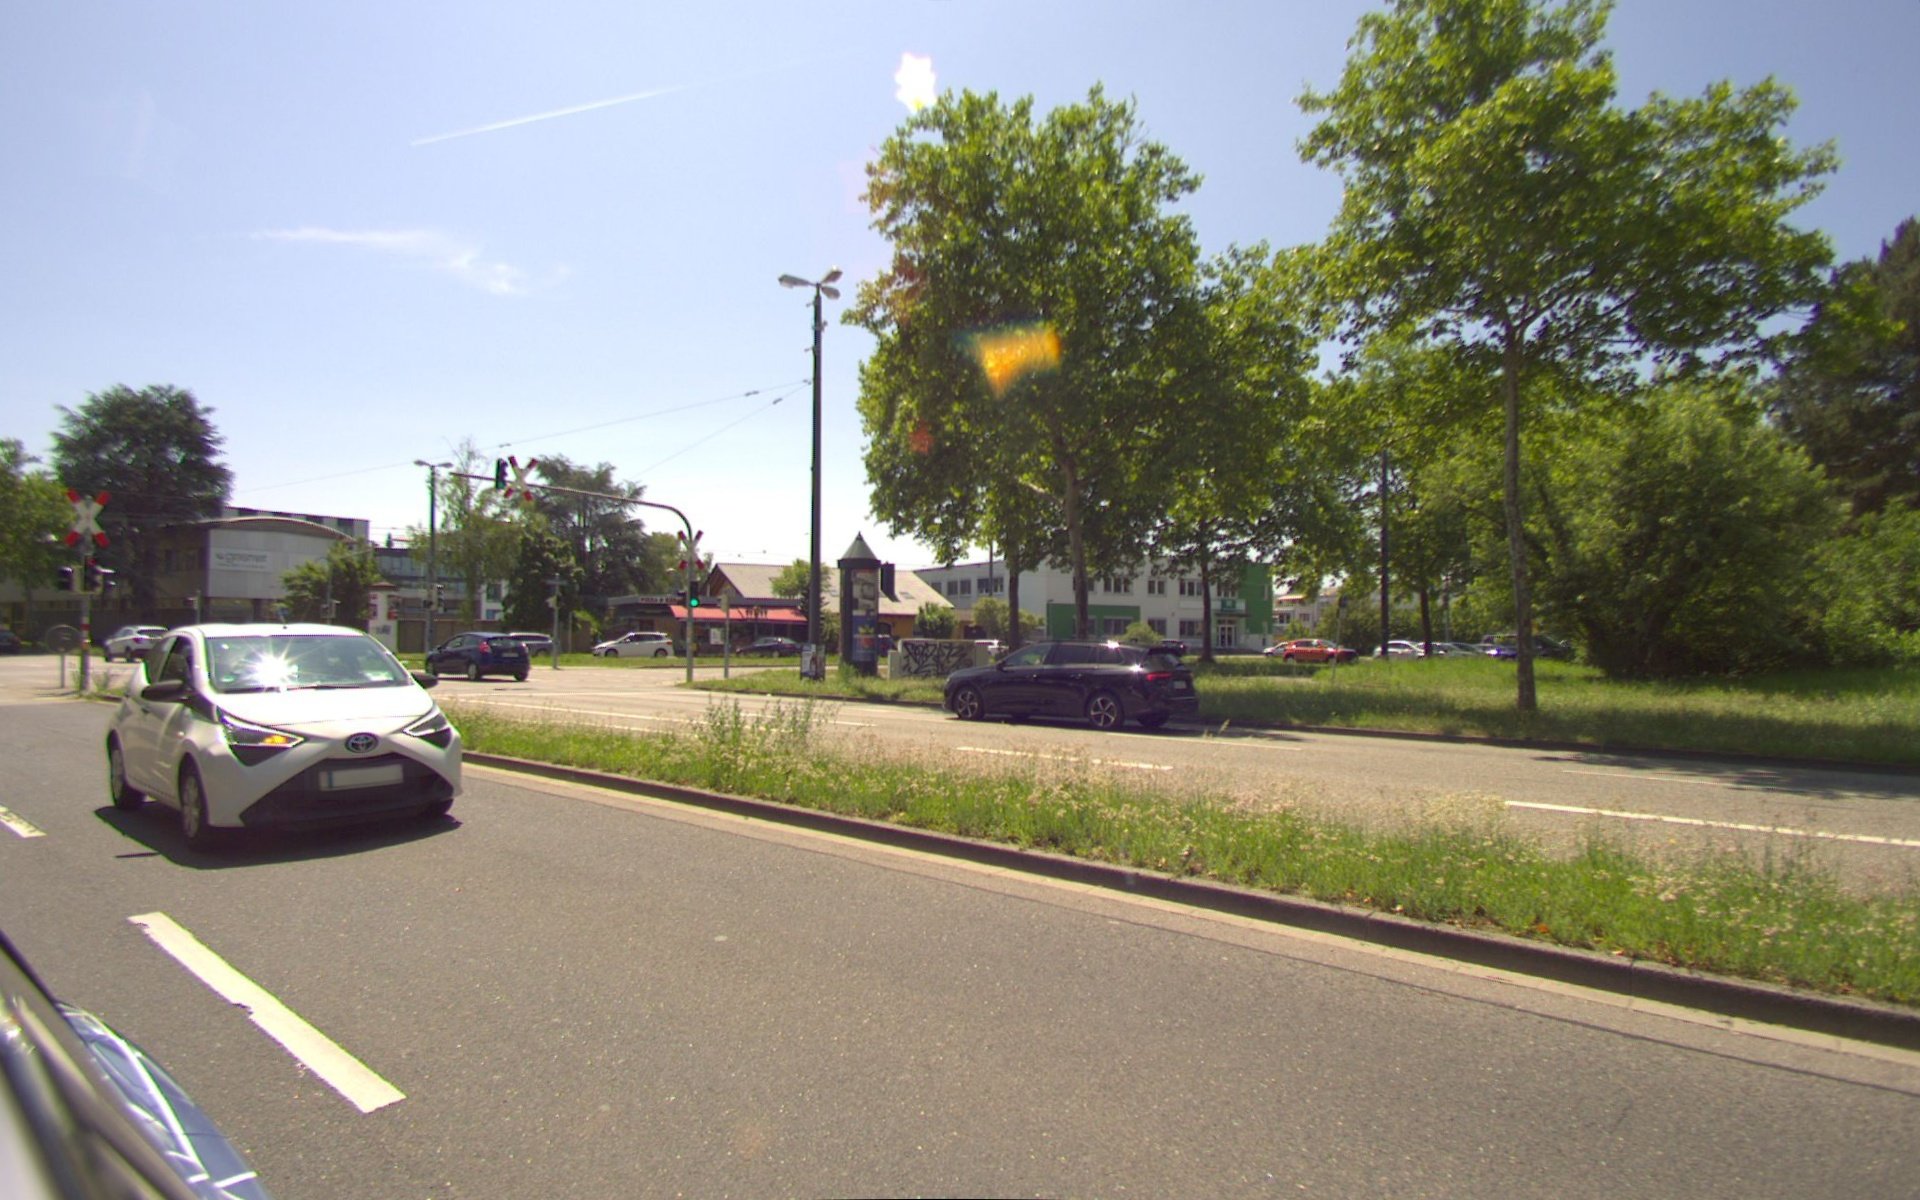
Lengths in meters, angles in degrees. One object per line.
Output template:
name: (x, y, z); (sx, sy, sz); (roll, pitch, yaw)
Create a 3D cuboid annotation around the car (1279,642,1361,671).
car: (19.508, 3.026, 54.967); (1.435, 1.407, 4.147); (0, -1, -36)

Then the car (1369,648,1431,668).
car: (25.836, 3.386, 59.499); (1.366, 1.093, 3.056); (2, -3, -39)

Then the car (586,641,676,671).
car: (-18.239, 3.083, 56.077); (4.384, 1.617, 2.223); (1, -3, -29)

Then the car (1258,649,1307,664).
car: (28.257, 4.951, 88.825); (3.885, 1.215, 1.346); (-1, -3, 35)

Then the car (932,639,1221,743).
car: (1.861, 1.446, 17.016); (4.587, 1.518, 1.795); (-2, -4, 38)

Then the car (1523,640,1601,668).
car: (37.028, 3.300, 62.304); (1.598, 1.621, 3.775); (1, -2, -35)

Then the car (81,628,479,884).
car: (-5.290, 0.958, 7.703); (3.649, 1.456, 1.602); (-1, -1, 41)

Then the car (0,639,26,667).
car: (-53.754, 2.906, 55.975); (4.731, 1.451, 1.934); (-1, -3, 33)

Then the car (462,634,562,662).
car: (-23.614, 2.538, 53.409); (4.591, 1.391, 1.893); (3, -3, -32)

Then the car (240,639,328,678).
car: (-25.628, 2.197, 38.340); (3.549, 1.372, 1.787); (-1, -3, 39)

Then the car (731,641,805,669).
car: (-12.152, 3.450, 63.898); (4.551, 1.663, 1.765); (-1, -3, 30)

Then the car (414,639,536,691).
car: (-14.732, 1.928, 30.686); (3.861, 1.466, 1.704); (-1, -3, 37)

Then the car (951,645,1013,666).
car: (1.529, 3.896, 71.904); (4.050, 1.434, 1.924); (-1, -3, 34)

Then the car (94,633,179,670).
car: (-37.793, 2.363, 46.443); (4.391, 1.627, 1.773); (-2, -3, 34)

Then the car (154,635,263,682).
car: (-24.782, 1.913, 33.328); (4.171, 1.406, 1.720); (-1, -4, 37)

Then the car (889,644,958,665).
car: (-2.492, 3.672, 68.637); (4.372, 1.423, 1.858); (-1, -3, 31)
